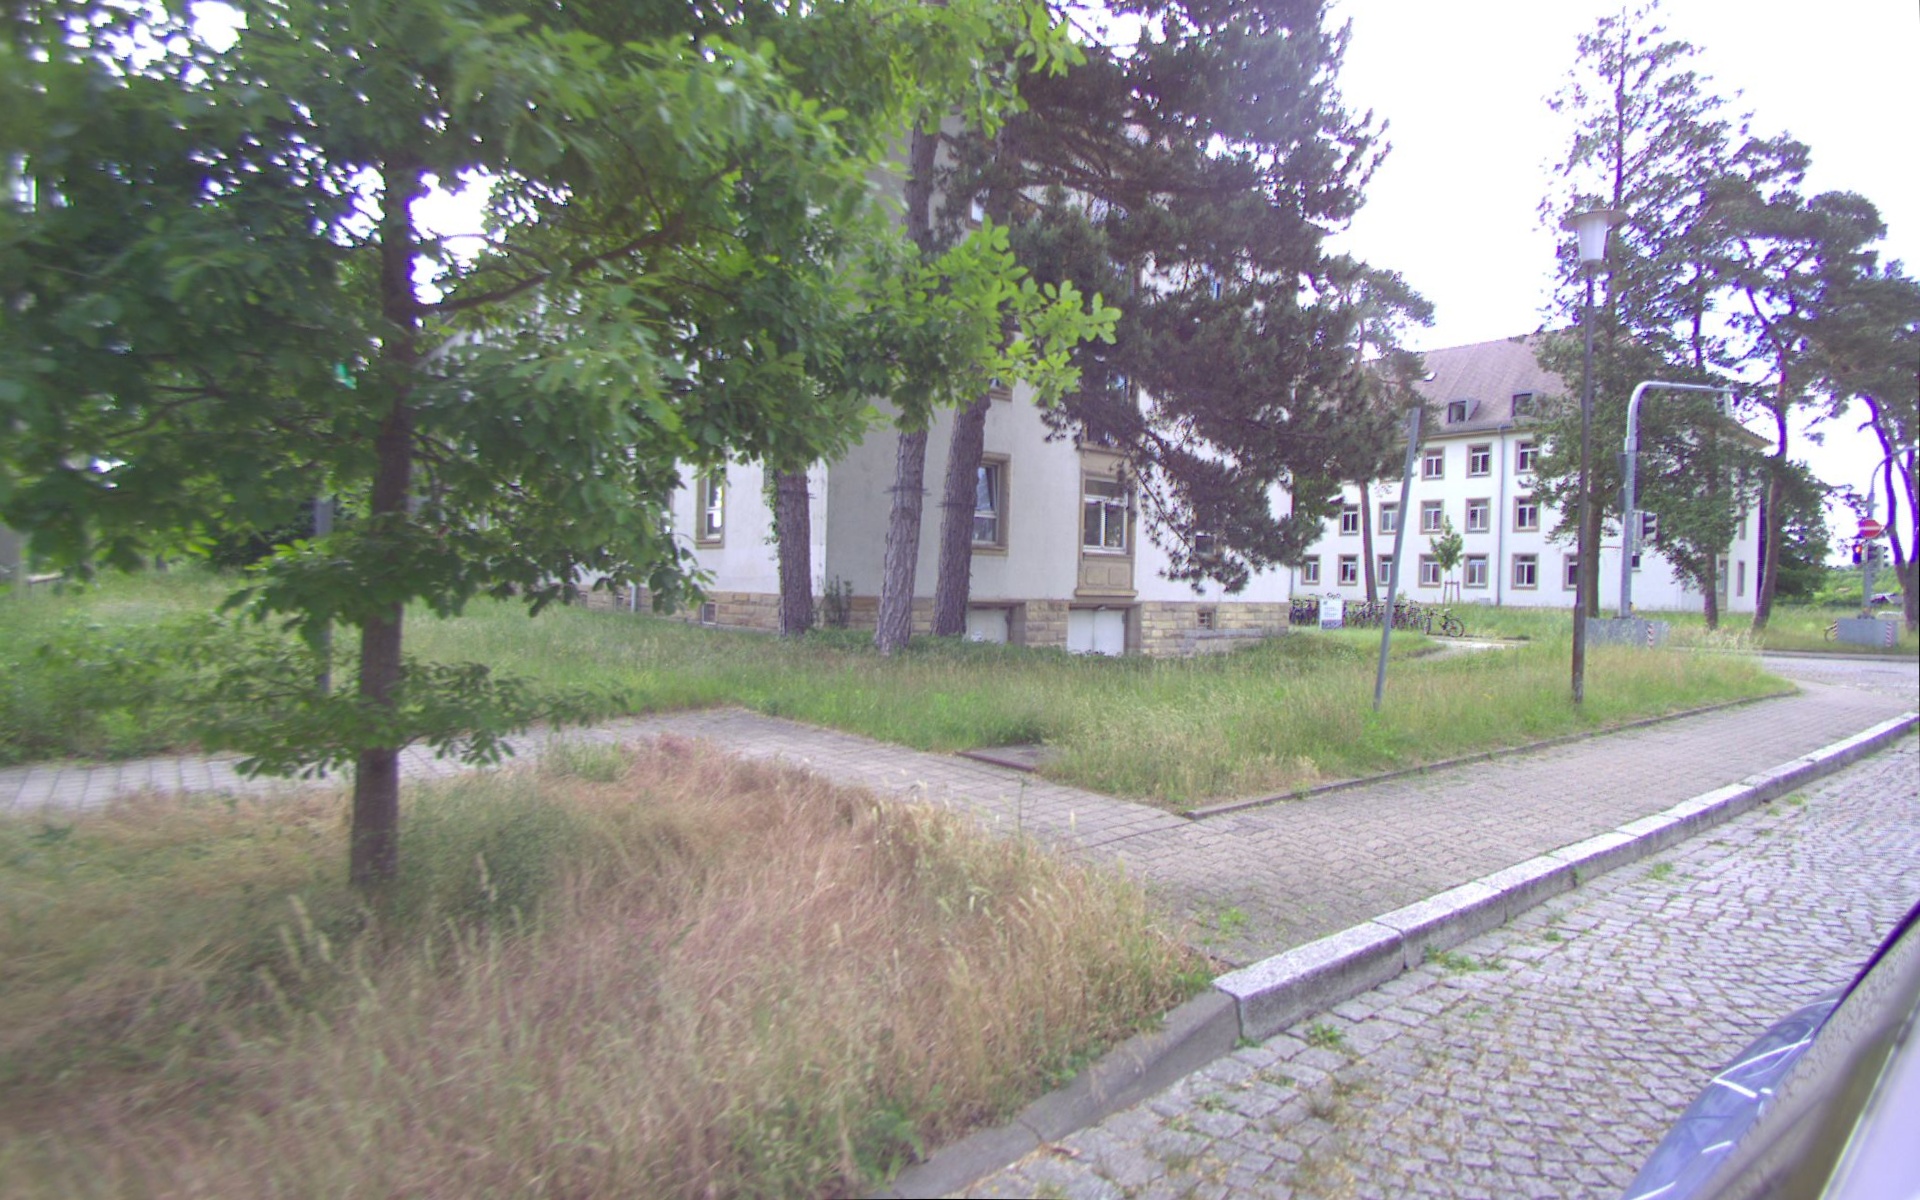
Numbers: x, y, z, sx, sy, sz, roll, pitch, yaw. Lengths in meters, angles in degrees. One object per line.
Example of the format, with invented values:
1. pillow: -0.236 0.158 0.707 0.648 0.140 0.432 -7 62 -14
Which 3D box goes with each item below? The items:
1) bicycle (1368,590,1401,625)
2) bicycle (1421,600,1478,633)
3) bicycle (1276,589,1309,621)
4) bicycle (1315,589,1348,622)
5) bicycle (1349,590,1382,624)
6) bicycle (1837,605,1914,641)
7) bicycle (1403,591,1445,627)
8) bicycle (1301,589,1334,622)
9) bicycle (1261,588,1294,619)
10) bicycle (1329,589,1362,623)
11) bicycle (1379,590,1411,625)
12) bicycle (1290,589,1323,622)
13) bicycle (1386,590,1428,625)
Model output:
1. bicycle: 16.929 0.299 40.331 0.571 1.348 1.808 2 1 45
2. bicycle: 17.785 0.589 36.806 0.562 1.098 1.838 -1 2 -36
3. bicycle: 14.293 0.206 43.484 0.571 1.348 1.808 2 1 45
4. bicycle: 15.412 0.230 41.953 0.571 1.348 1.808 2 1 45
5. bicycle: 16.396 0.286 40.882 0.571 1.348 1.808 2 1 45
6. bicycle: 30.363 0.759 33.570 0.563 1.098 1.835 -1 2 -41
7. bicycle: 17.984 0.339 39.186 1.802 1.348 0.573 1 1 -32
8. bicycle: 15.017 0.228 42.519 0.571 1.348 1.808 2 1 45
9. bicycle: 13.790 0.150 43.988 0.571 1.348 1.808 2 1 45
10. bicycle: 15.815 0.233 41.507 0.571 1.348 1.808 2 1 45
11. bicycle: 17.195 0.301 39.989 0.481 1.348 1.808 2 1 45
12. bicycle: 14.781 0.226 43.119 0.571 1.348 1.808 2 1 45
13. bicycle: 17.501 0.303 39.597 1.802 1.348 0.573 1 1 -32
